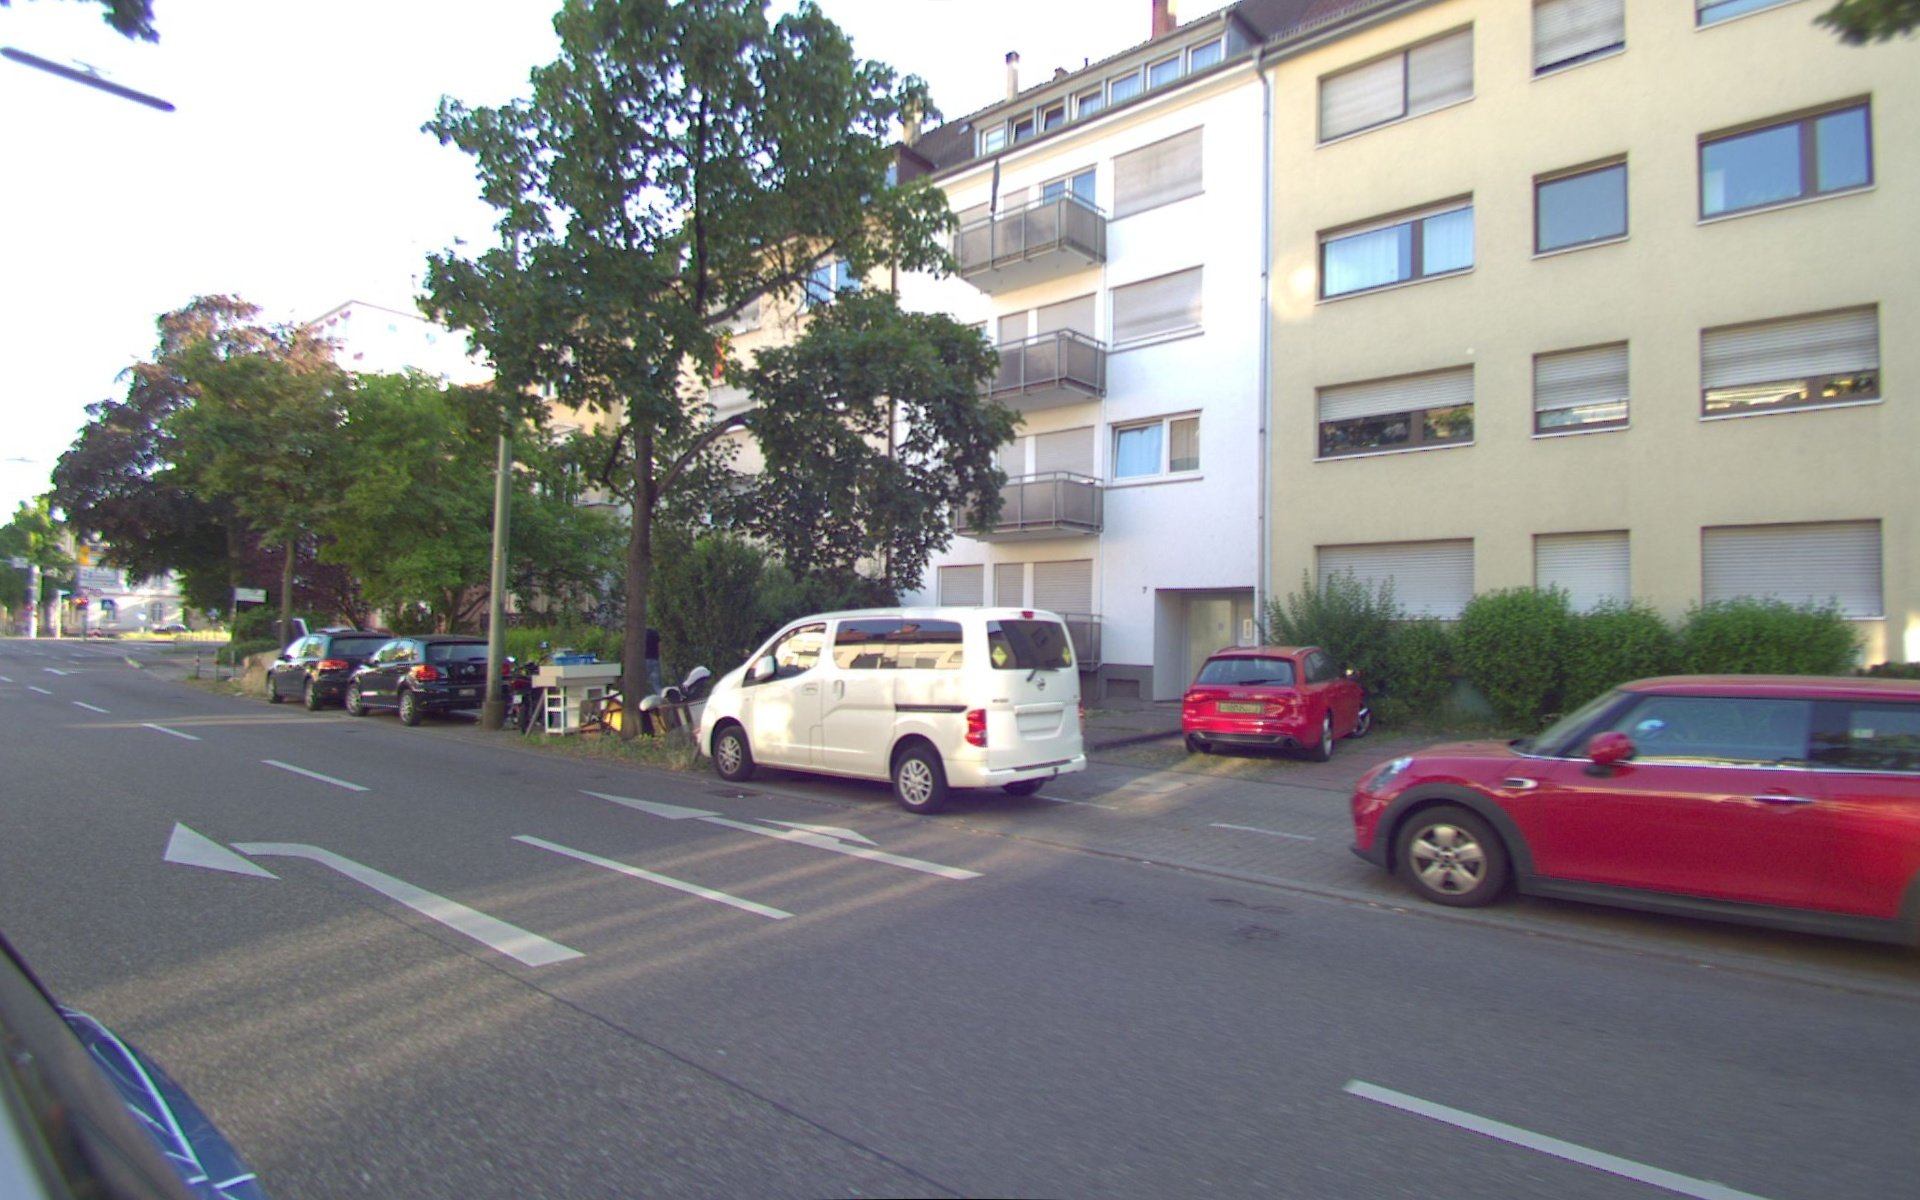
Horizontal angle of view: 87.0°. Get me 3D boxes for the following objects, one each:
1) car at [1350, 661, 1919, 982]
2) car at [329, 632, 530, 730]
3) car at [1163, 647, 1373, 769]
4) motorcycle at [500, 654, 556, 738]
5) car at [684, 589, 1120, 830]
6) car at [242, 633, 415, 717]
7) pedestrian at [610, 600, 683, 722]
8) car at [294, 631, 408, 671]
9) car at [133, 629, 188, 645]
[{"bbox_3d":[4.450,1.099,5.816,3.784,1.432,1.699,-2,-4,41],"label":"car"},{"bbox_3d":[-9.324,1.343,17.674,3.976,1.514,1.732,-2,-4,41],"label":"car"},{"bbox_3d":[4.456,1.362,14.112,1.990,1.373,4.682,-1,-3,27],"label":"car"},{"bbox_3d":[-6.588,1.428,15.479,0.434,1.201,1.711,1,-3,-12],"label":"motorcycle"},{"bbox_3d":[-0.745,0.967,10.275,4.457,1.934,1.751,-2,-4,41],"label":"car"},{"bbox_3d":[-12.716,1.435,20.287,4.194,1.514,1.732,-2,-4,41],"label":"car"},{"bbox_3d":[-5.425,1.040,17.504,0.975,2.029,0.759,-2,-4,40],"label":"pedestrian"},{"bbox_3d":[-24.485,2.051,40.764,1.812,1.497,3.465,-2,-3,36],"label":"car"},{"bbox_3d":[-74.819,3.442,94.751,1.996,1.457,3.602,-1,-3,36],"label":"car"}]
